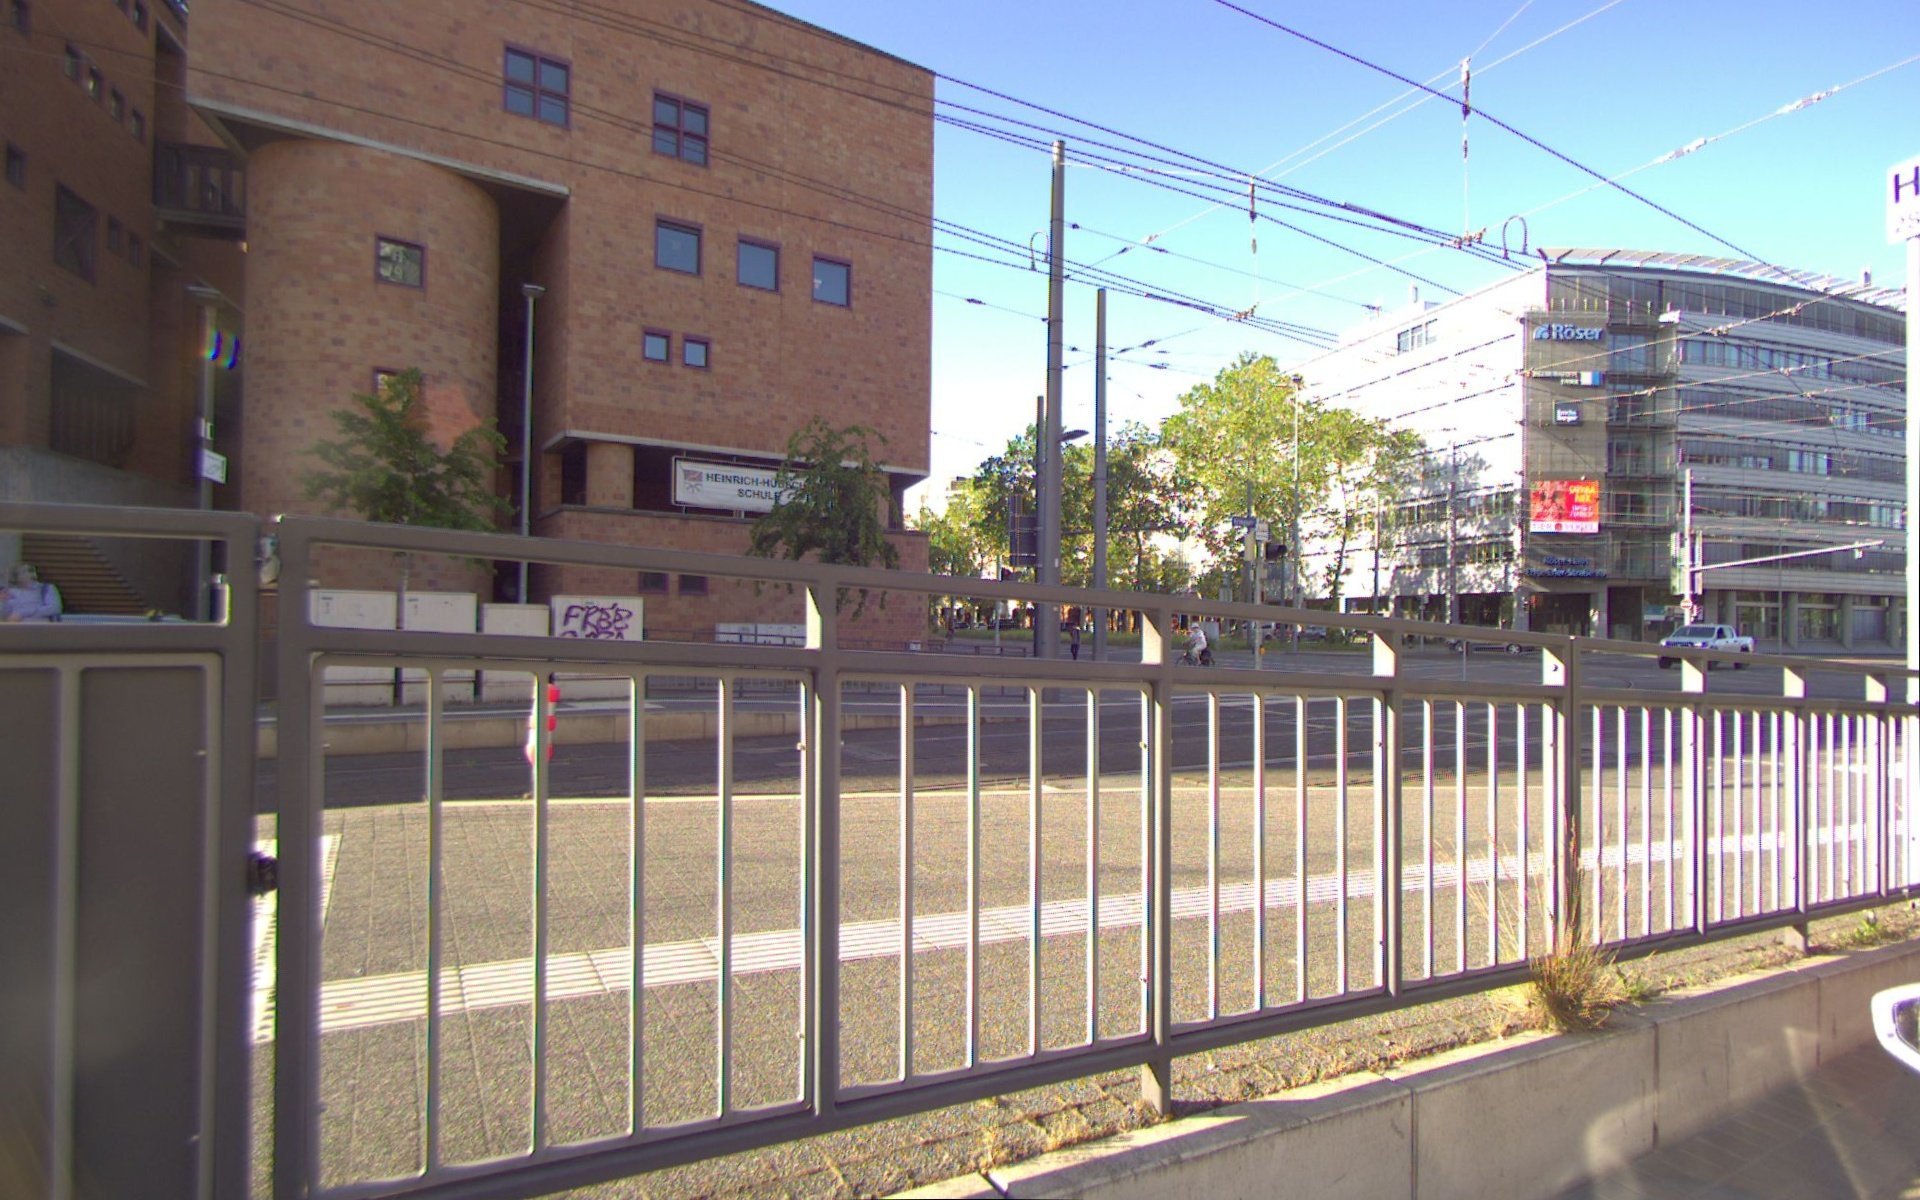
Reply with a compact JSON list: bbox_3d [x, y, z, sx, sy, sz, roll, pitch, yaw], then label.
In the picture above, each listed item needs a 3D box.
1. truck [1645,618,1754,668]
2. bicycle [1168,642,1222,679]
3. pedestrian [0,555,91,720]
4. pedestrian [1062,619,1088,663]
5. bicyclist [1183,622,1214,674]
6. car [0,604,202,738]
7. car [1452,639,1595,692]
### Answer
[{"bbox_3d":[30.131,1.793,40.860,5.103,1.904,1.982,3,-4,-34],"label":"truck"},{"bbox_3d":[7.206,1.856,30.761,1.793,1.104,0.458,2,-3,-30],"label":"bicycle"},{"bbox_3d":[-9.659,0.383,10.553,0.679,1.656,0.662,2,0,-34],"label":"pedestrian"},{"bbox_3d":[4.552,1.639,39.912,0.785,1.714,0.587,2,0,-29],"label":"pedestrian"},{"bbox_3d":[7.307,1.482,30.789,0.642,1.554,0.584,2,0,-30],"label":"bicyclist"},{"bbox_3d":[-12.409,0.849,12.455,4.646,1.589,1.814,2,-2,-34],"label":"car"},{"bbox_3d":[13.639,1.560,24.363,2.841,1.077,1.238,2,0,40],"label":"car"}]
